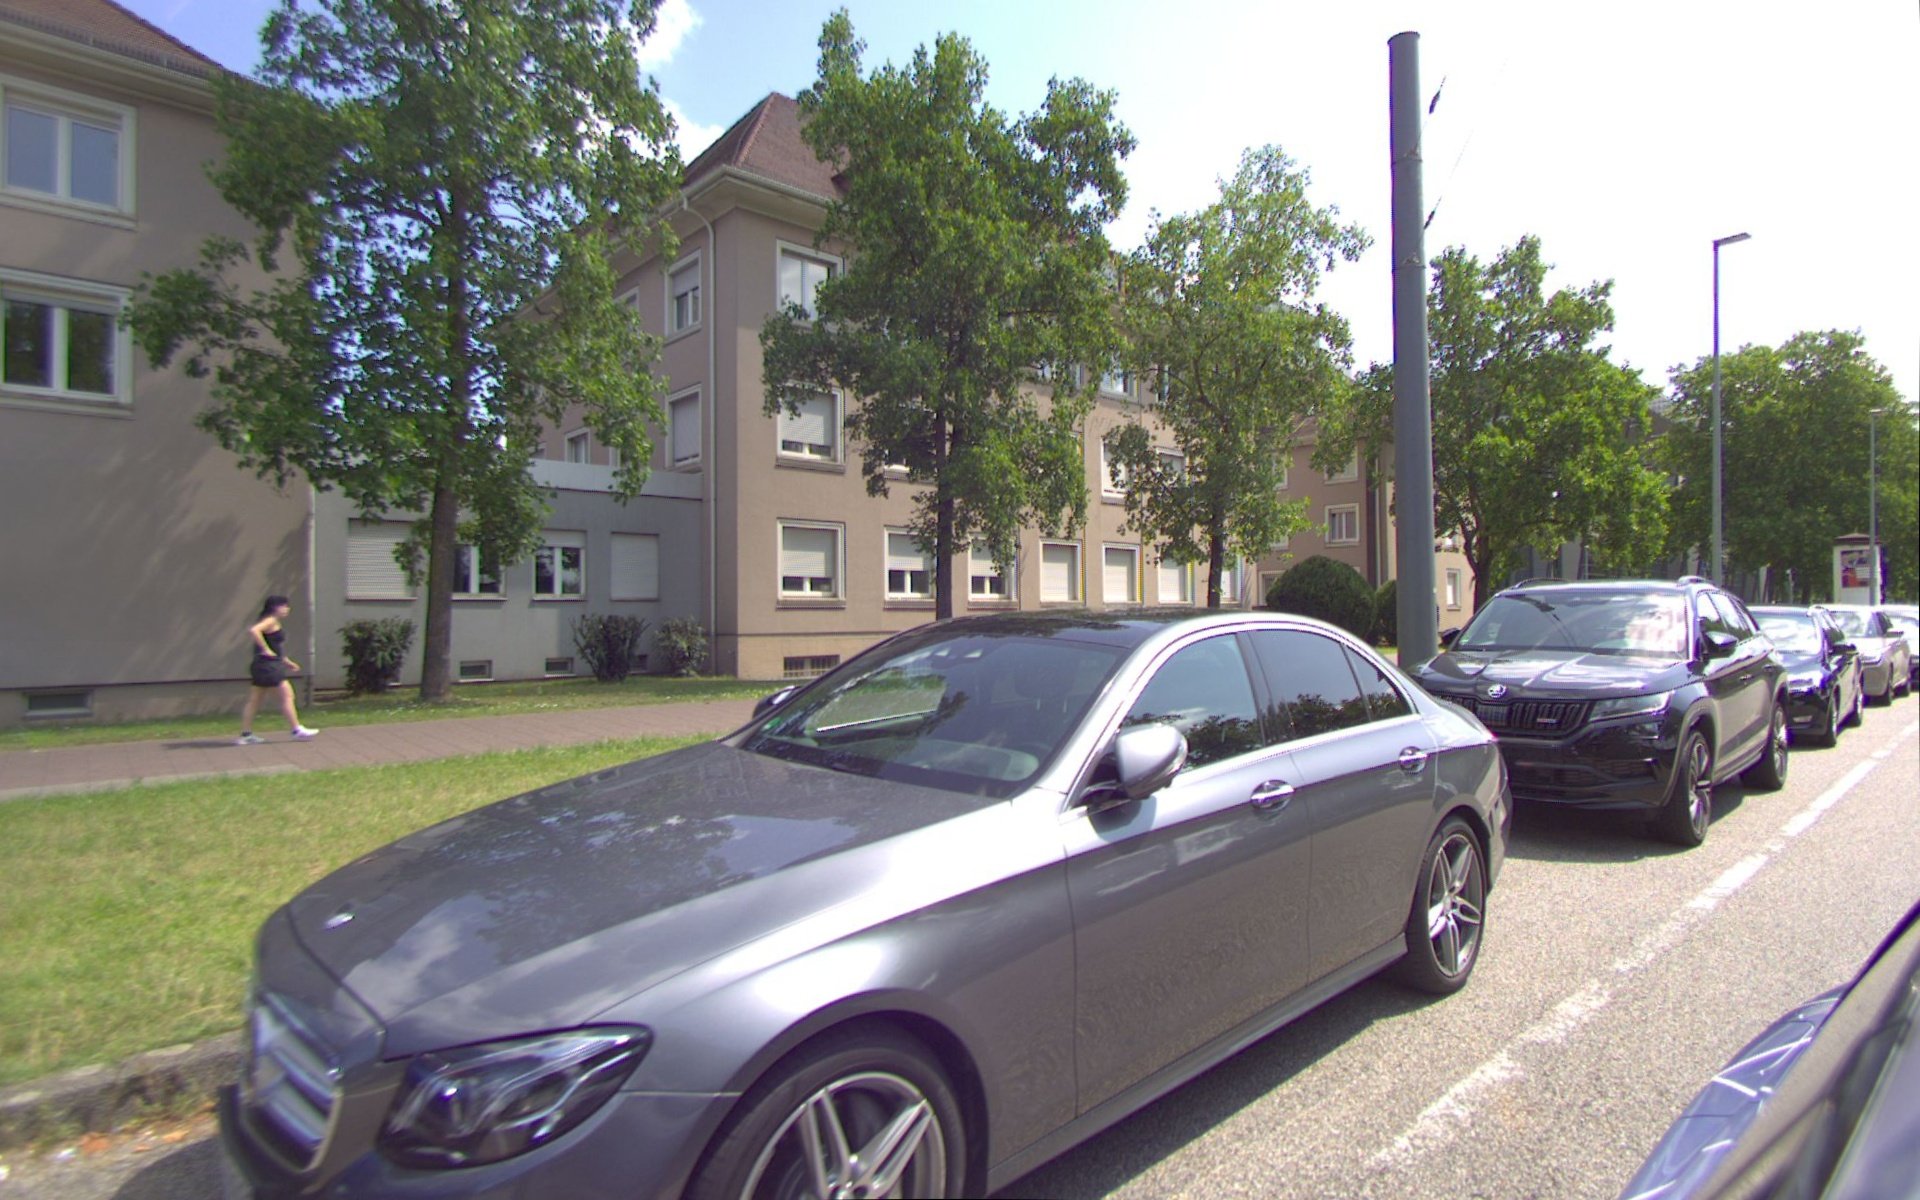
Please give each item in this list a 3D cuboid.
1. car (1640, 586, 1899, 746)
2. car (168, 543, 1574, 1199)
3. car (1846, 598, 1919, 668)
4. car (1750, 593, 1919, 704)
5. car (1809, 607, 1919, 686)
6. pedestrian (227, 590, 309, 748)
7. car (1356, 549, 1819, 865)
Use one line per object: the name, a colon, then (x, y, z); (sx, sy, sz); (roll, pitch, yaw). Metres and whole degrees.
car: (9.617, 0.643, 11.895); (4.364, 1.549, 1.647); (0, 0, -41)
car: (0.380, 0.683, 3.601); (4.905, 1.472, 1.818); (1, 0, -43)
car: (21.680, 0.714, 23.119); (3.723, 1.498, 1.710); (0, 0, -41)
car: (14.069, 0.682, 16.103); (3.783, 1.534, 1.672); (0, 0, -41)
car: (17.586, 0.808, 19.135); (4.367, 1.328, 1.826); (0, 0, -43)
pedestrian: (-7.455, 0.707, 10.902); (0.614, 1.628, 0.622); (0, 0, -45)
car: (4.942, 0.585, 7.639); (4.591, 1.683, 1.818); (1, 0, -43)
